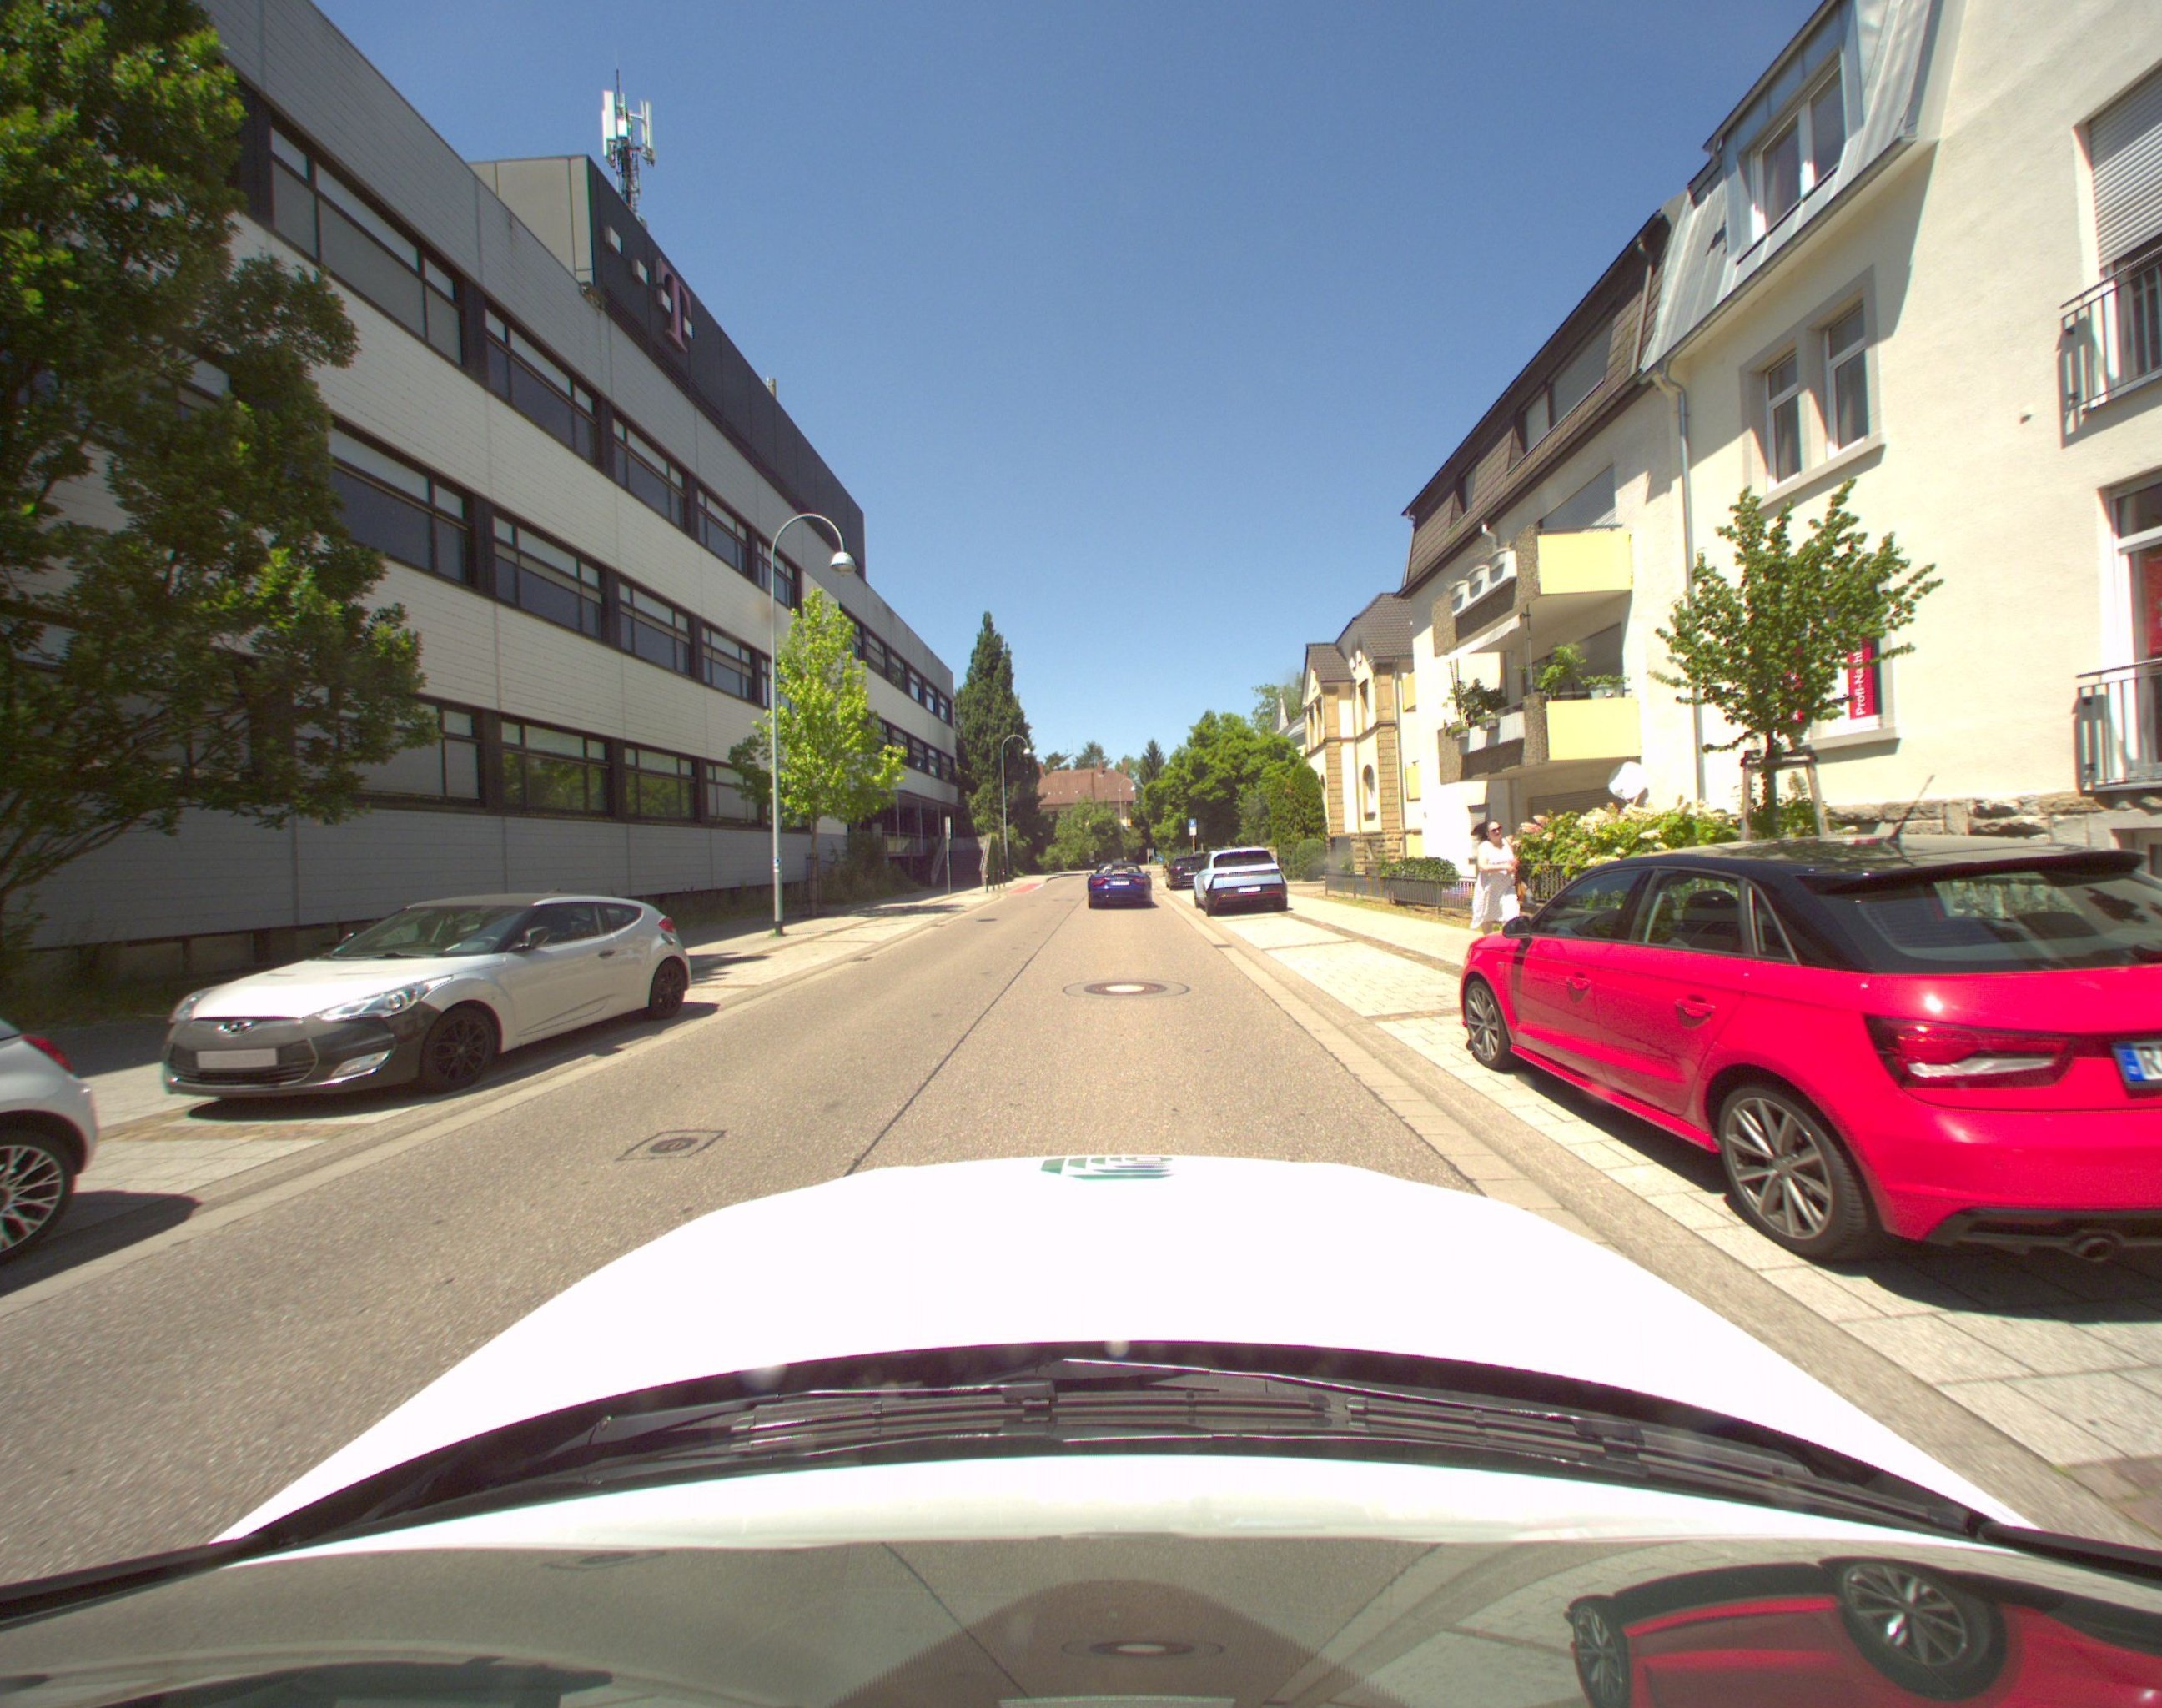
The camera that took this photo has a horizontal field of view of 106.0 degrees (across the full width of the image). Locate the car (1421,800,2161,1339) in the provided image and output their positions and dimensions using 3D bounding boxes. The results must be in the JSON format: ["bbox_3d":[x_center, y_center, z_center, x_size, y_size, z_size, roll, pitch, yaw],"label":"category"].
[{"bbox_3d":[3.308,0.593,4.215,1.596,1.440,3.857,-5,0,4],"label":"car"}]

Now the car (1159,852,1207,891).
[{"bbox_3d":[4.397,0.723,35.686,1.625,1.446,4.400,-5,0,3],"label":"car"}]

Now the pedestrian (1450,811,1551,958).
[{"bbox_3d":[5.092,0.360,9.939,0.738,1.669,0.706,-5,-1,1],"label":"pedestrian"}]

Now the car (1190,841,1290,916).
[{"bbox_3d":[3.989,0.577,21.123,1.836,1.619,4.431,-4,0,3],"label":"car"}]

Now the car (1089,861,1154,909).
[{"bbox_3d":[1.249,0.891,25.442,1.819,1.337,4.703,-1,0,3],"label":"car"}]

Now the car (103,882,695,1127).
[{"bbox_3d":[-5.348,1.043,7.216,1.740,1.409,3.937,-2,0,4],"label":"car"}]

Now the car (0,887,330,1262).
[{"bbox_3d":[-5.464,0.966,2.700,1.815,1.512,4.292,-2,0,3],"label":"car"}]
